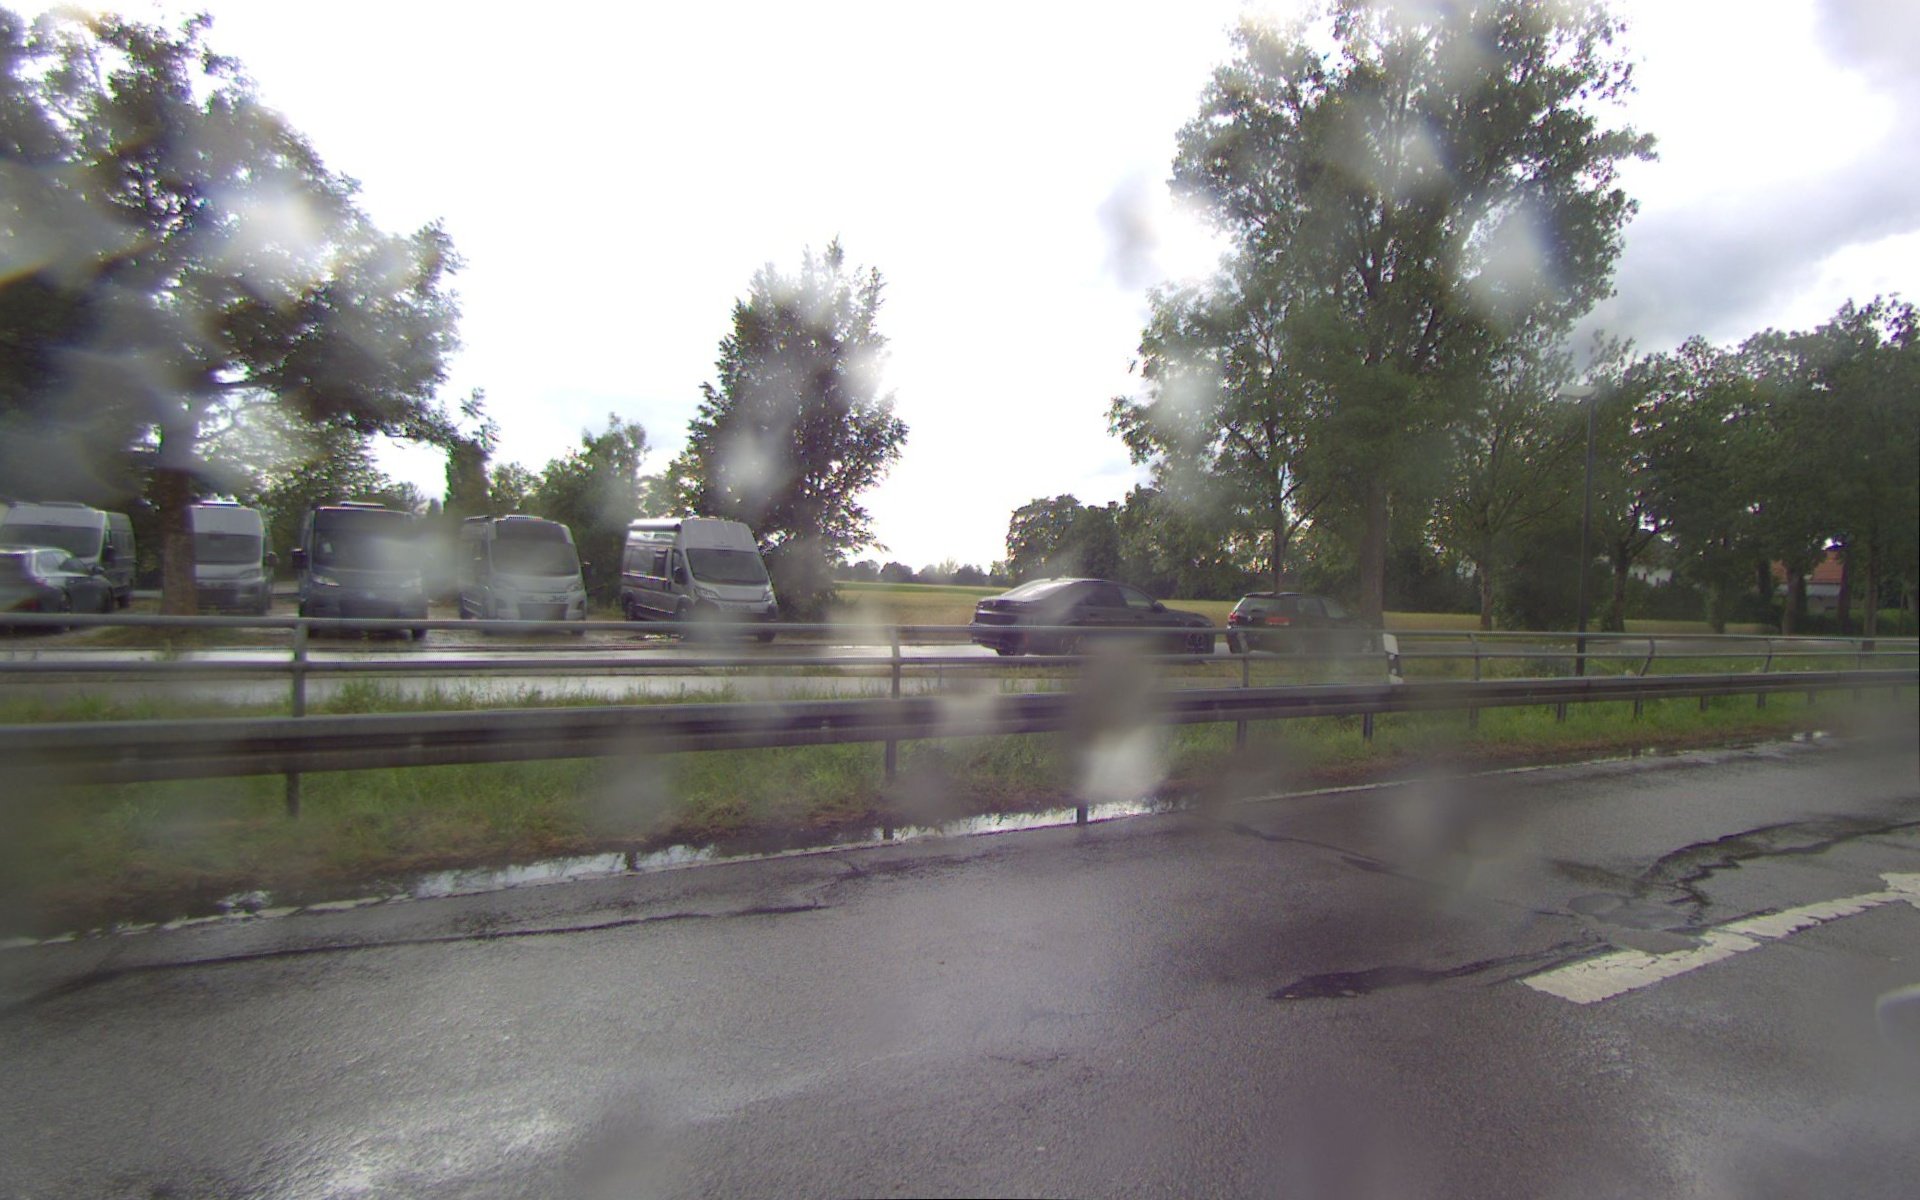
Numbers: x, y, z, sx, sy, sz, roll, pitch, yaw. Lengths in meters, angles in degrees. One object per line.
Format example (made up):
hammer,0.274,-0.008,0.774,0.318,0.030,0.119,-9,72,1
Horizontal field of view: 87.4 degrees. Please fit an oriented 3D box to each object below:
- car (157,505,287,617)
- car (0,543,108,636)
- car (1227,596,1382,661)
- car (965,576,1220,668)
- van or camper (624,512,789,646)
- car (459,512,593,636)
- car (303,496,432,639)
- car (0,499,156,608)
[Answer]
car,-19.222,-1.008,26.439,2.067,2.573,6.061,1,1,-30
car,-16.964,-0.245,18.205,1.521,1.516,3.867,1,2,-29
car,7.815,0.629,22.646,3.860,1.349,1.274,1,1,-36
car,2.602,0.400,18.895,5.071,1.511,1.505,1,2,-35
van or camper,-6.090,-0.524,23.484,2.058,2.713,5.842,1,2,-32
car,-10.003,-0.609,22.911,1.979,2.492,5.061,1,2,-33
car,-12.107,-0.654,20.404,1.979,2.535,5.151,1,2,-33
car,-22.614,-1.164,25.862,2.067,2.449,6.061,1,1,-30
